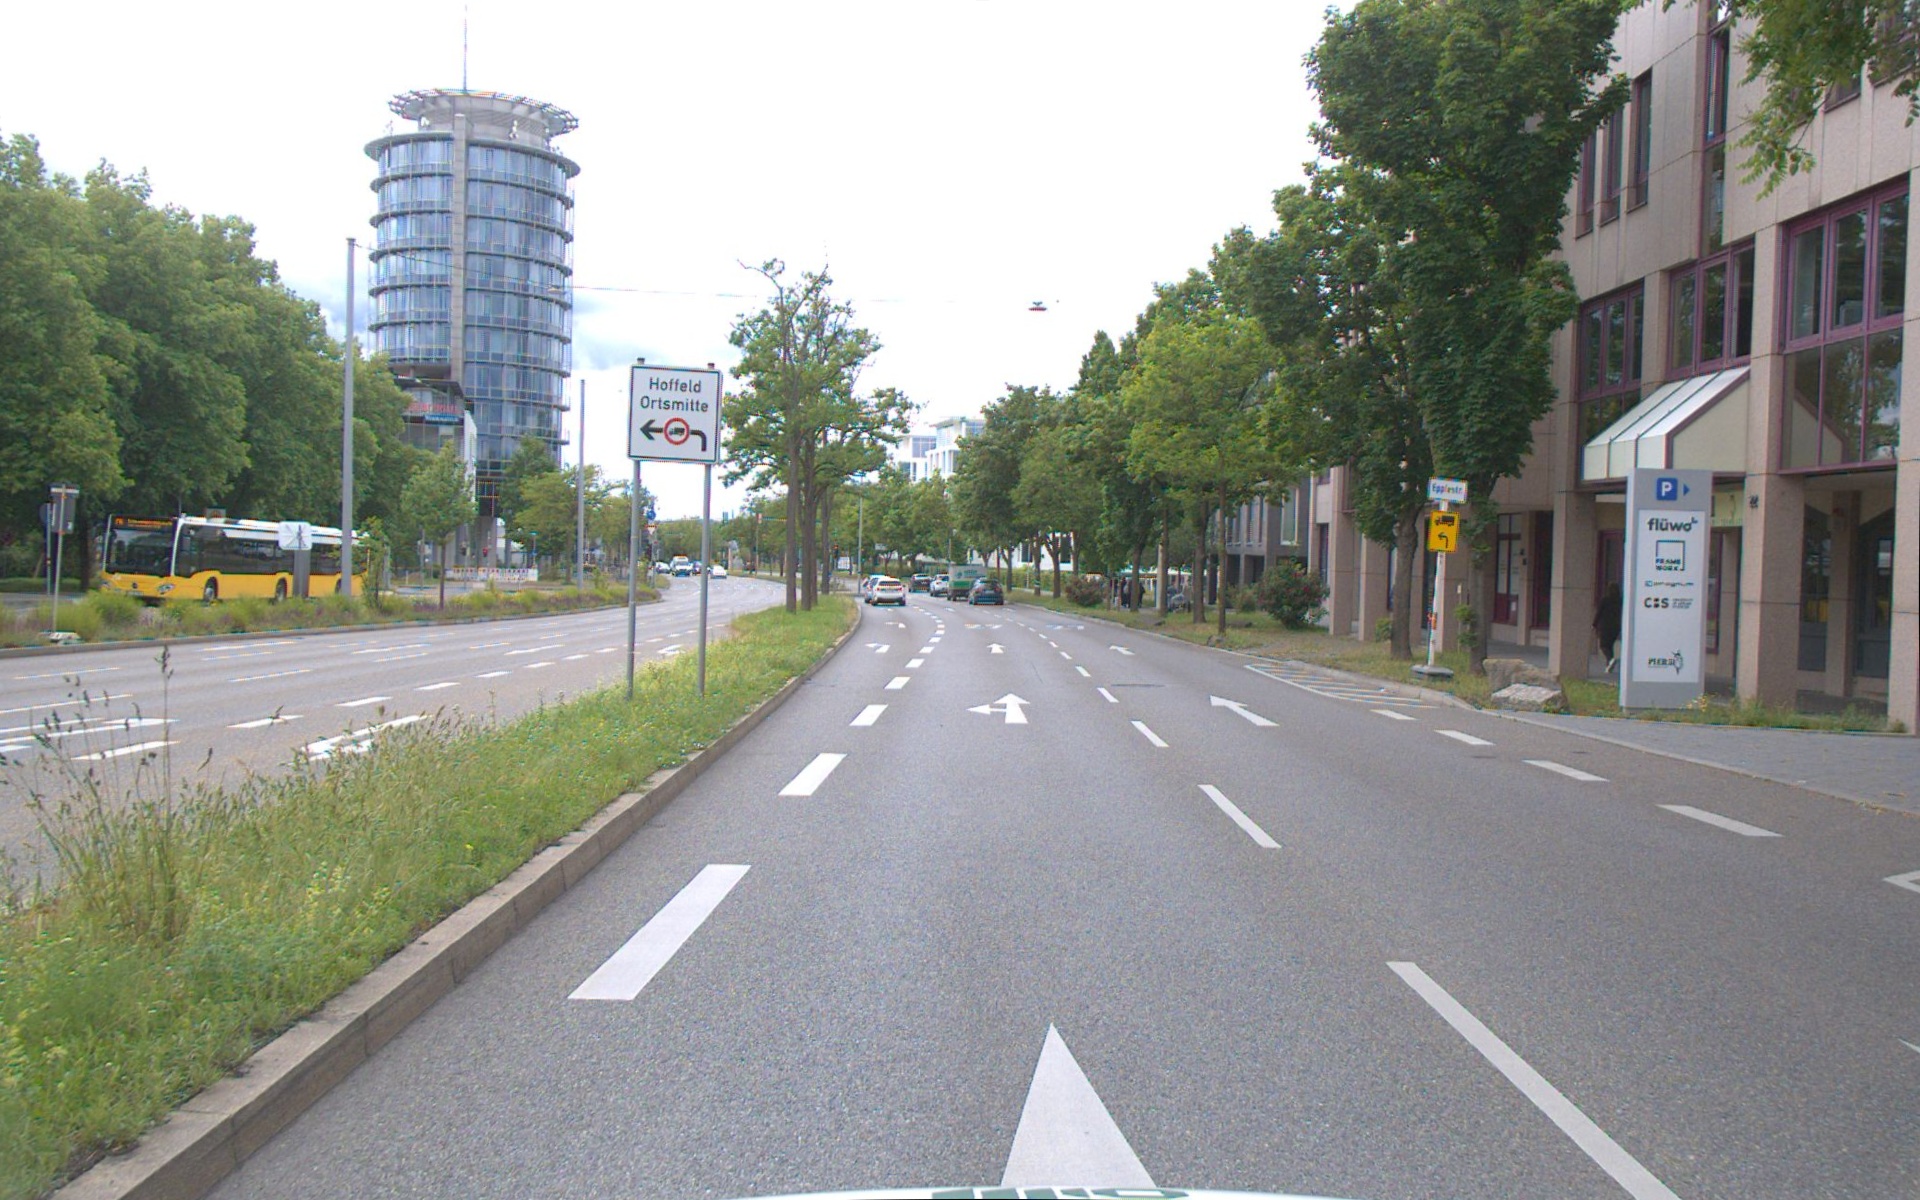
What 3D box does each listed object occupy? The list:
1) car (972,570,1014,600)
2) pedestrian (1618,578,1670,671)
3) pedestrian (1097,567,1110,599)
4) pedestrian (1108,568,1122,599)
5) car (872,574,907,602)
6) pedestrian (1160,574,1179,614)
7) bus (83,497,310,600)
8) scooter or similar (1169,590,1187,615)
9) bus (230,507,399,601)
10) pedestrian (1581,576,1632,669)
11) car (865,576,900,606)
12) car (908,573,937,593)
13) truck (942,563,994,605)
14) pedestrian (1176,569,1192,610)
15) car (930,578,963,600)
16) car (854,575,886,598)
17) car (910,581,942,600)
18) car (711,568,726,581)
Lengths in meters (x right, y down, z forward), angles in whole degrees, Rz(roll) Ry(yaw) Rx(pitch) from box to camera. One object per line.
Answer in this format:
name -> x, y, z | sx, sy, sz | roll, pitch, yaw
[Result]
car -> 1.866, -0.845, 94.070 | 1.955, 1.624, 3.996 | 1, 1, -5
pedestrian -> 12.970, 0.449, 31.372 | 0.582, 1.734, 0.970 | 1, 0, 1
pedestrian -> 8.328, -0.980, 96.252 | 0.596, 1.806, 0.953 | 1, 3, -4
pedestrian -> 9.034, -0.967, 96.441 | 0.596, 1.806, 0.953 | 1, 3, -4
car -> -3.857, -0.644, 91.068 | 1.825, 1.474, 3.999 | 1, 0, -2
pedestrian -> 8.948, -0.245, 70.639 | 0.544, 1.681, 0.960 | 0, 0, -7
bus -> -26.779, -1.730, 58.820 | 3.021, 3.217, 10.737 | 3, 1, 0
scooter or similar -> 9.192, 0.095, 69.761 | 0.572, 1.011, 0.845 | 0, 1, -7
bus -> -26.770, -1.839, 69.248 | 2.969, 3.515, 9.912 | 3, 1, 0
pedestrian -> 12.263, 0.416, 31.383 | 0.582, 1.734, 0.970 | 1, 0, 1
car -> -4.619, -0.521, 98.169 | 1.954, 1.701, 3.997 | 1, 0, -4
car -> -3.088, -1.407, 135.087 | 1.955, 1.516, 3.994 | 1, 1, -7
truck -> 0.454, -0.989, 106.264 | 2.803, 2.563, 6.281 | 1, 0, -5
pedestrian -> 9.597, -0.441, 70.785 | 0.555, 1.729, 0.829 | 1, 0, 0
car -> -0.970, -0.788, 116.350 | 1.955, 1.534, 3.994 | 1, 1, -7
car -> -6.346, -0.952, 117.386 | 1.952, 1.534, 4.001 | 1, 1, 1
car -> -2.815, -0.773, 135.341 | 1.958, 1.534, 3.989 | 1, 1, -11
car -> -29.917, -3.202, 205.001 | 1.720, 1.469, 4.128 | 2, 1, -7
